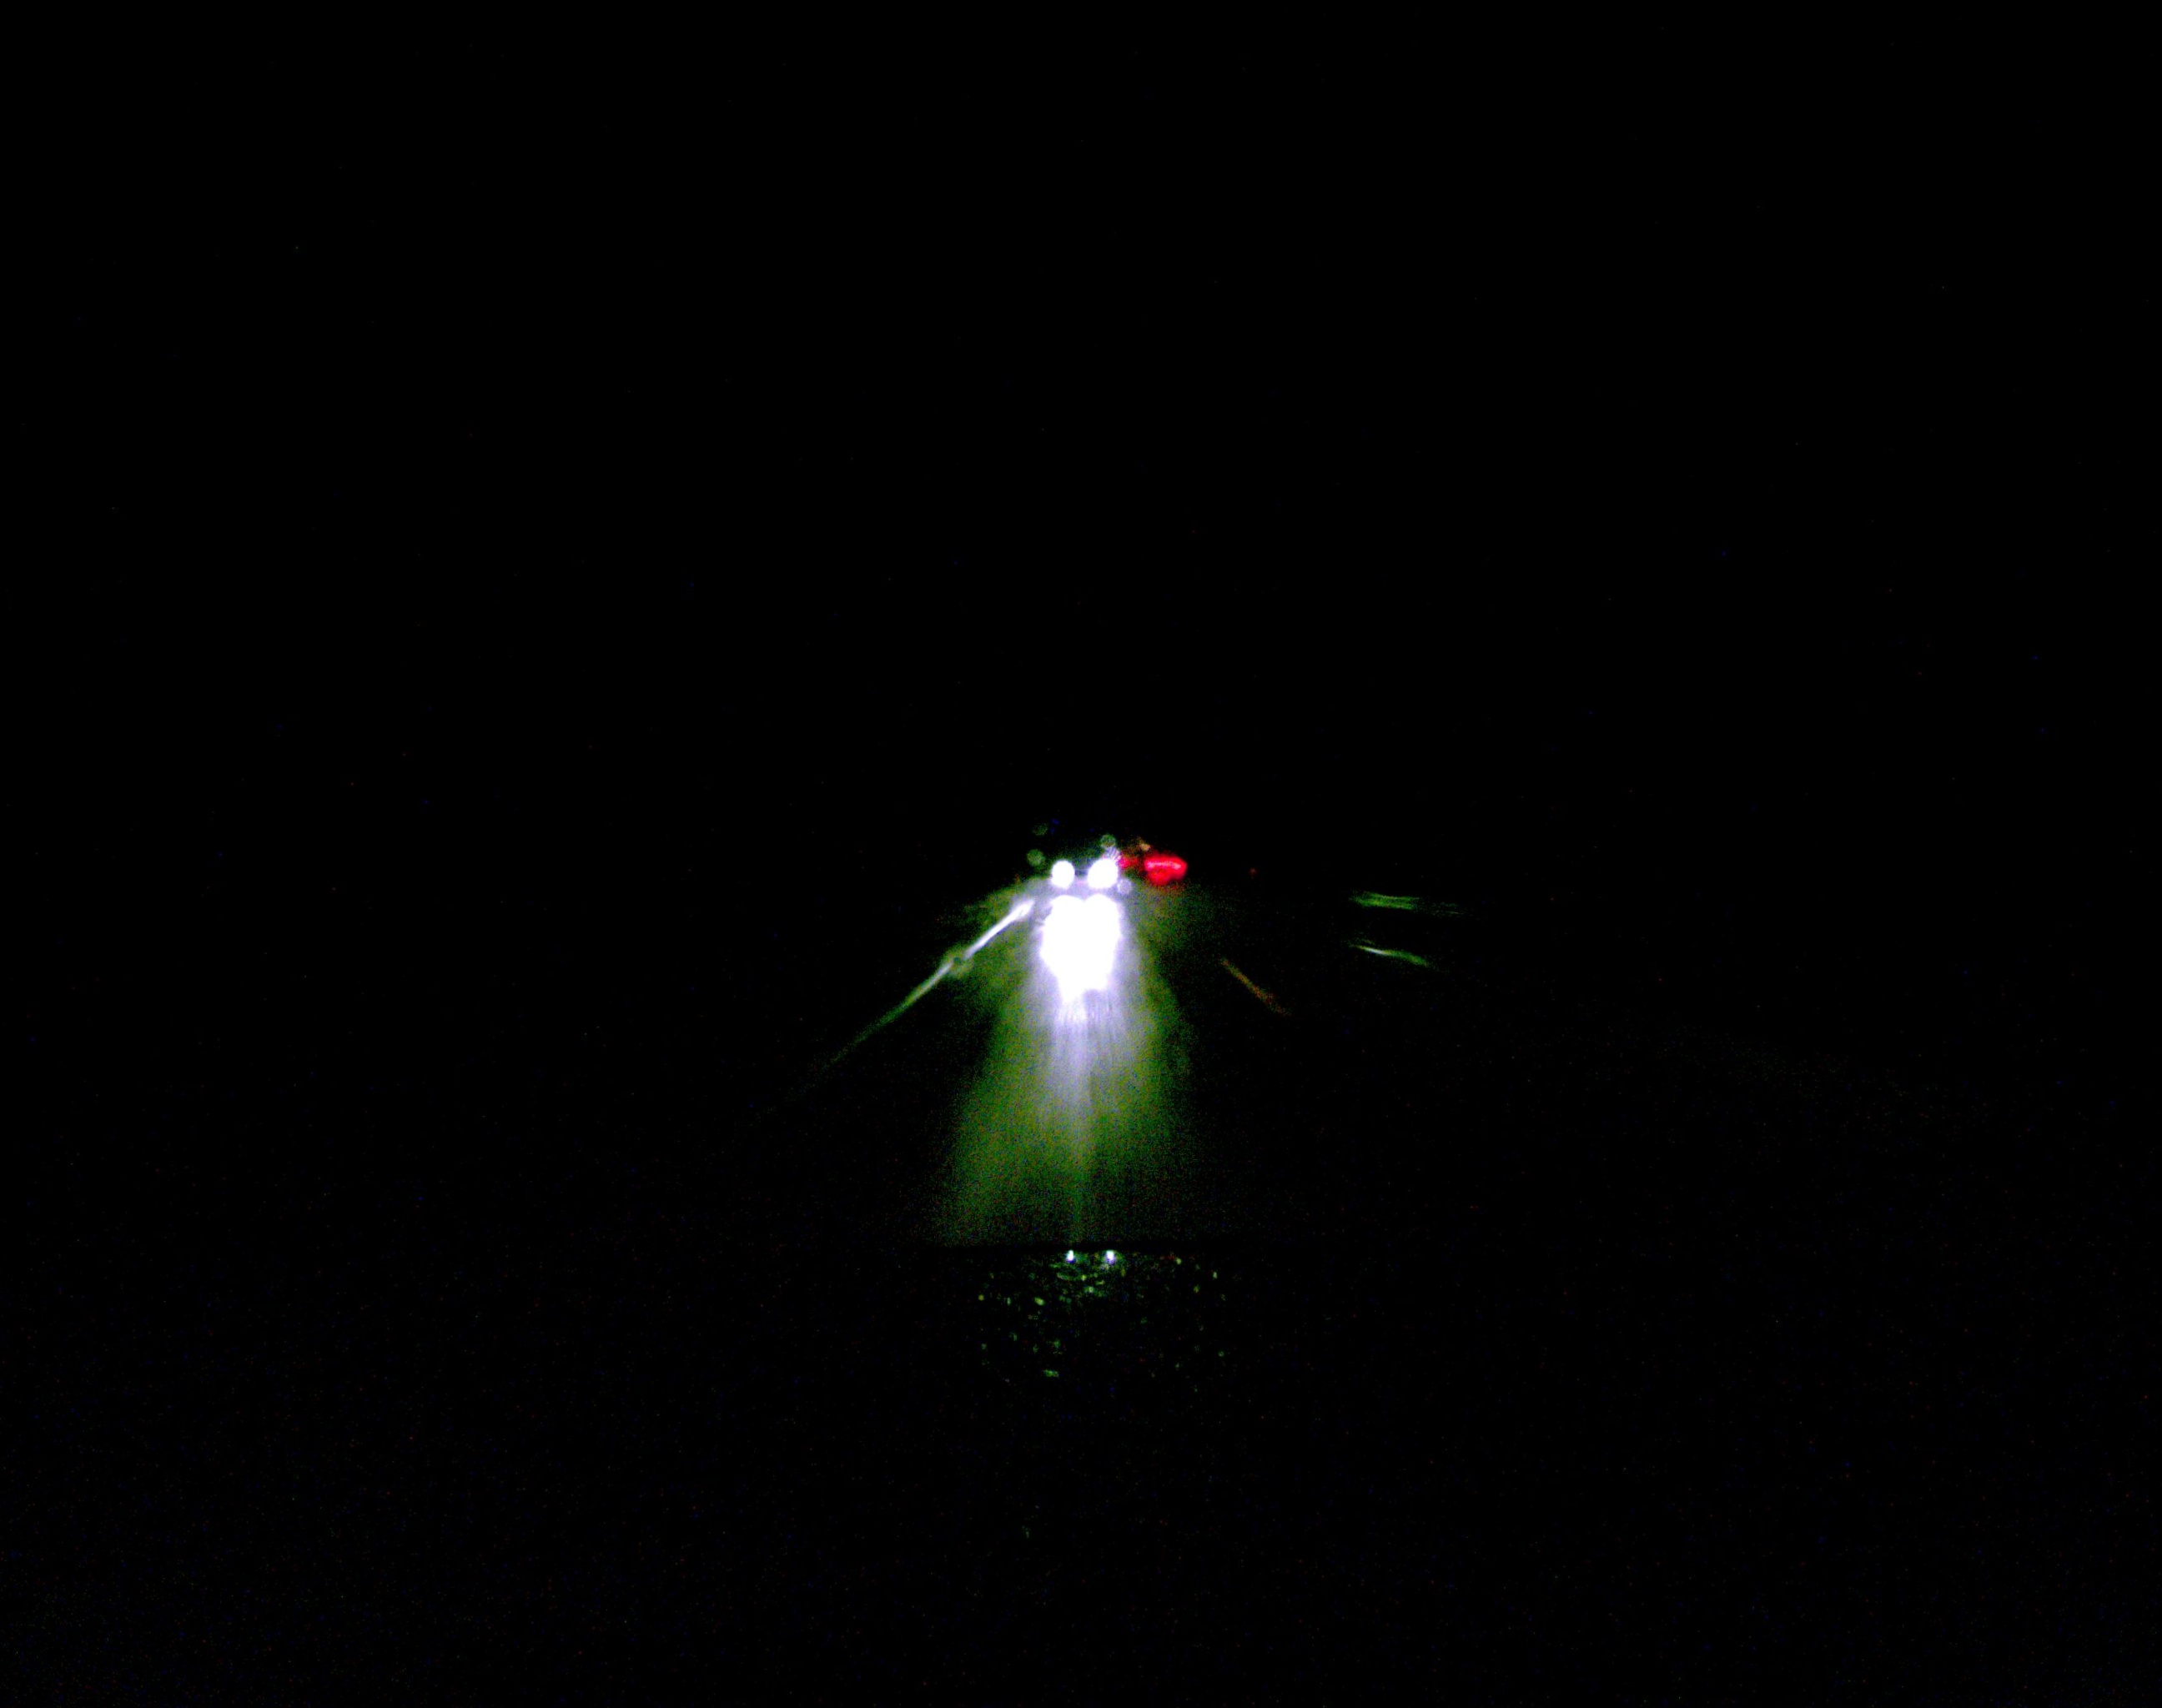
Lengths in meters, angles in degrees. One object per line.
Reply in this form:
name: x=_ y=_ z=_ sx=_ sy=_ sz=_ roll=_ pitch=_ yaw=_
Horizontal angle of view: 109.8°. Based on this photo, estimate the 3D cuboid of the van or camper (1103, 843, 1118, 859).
van or camper: x=4.925 y=-0.460 z=126.249 sx=2.129 sy=2.551 sz=5.783 roll=1 pitch=0 yaw=0

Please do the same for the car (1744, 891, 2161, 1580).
car: x=3.339 y=0.910 z=0.564 sx=1.769 sy=1.510 sz=4.490 roll=1 pitch=0 yaw=1

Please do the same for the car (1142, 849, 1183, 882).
car: x=4.216 y=0.562 z=40.019 sx=1.809 sy=1.618 sz=4.406 roll=0 pitch=0 yaw=1

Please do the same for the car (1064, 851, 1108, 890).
car: x=0.214 y=0.688 z=33.282 sx=1.793 sy=1.593 sz=4.000 roll=0 pitch=0 yaw=1
